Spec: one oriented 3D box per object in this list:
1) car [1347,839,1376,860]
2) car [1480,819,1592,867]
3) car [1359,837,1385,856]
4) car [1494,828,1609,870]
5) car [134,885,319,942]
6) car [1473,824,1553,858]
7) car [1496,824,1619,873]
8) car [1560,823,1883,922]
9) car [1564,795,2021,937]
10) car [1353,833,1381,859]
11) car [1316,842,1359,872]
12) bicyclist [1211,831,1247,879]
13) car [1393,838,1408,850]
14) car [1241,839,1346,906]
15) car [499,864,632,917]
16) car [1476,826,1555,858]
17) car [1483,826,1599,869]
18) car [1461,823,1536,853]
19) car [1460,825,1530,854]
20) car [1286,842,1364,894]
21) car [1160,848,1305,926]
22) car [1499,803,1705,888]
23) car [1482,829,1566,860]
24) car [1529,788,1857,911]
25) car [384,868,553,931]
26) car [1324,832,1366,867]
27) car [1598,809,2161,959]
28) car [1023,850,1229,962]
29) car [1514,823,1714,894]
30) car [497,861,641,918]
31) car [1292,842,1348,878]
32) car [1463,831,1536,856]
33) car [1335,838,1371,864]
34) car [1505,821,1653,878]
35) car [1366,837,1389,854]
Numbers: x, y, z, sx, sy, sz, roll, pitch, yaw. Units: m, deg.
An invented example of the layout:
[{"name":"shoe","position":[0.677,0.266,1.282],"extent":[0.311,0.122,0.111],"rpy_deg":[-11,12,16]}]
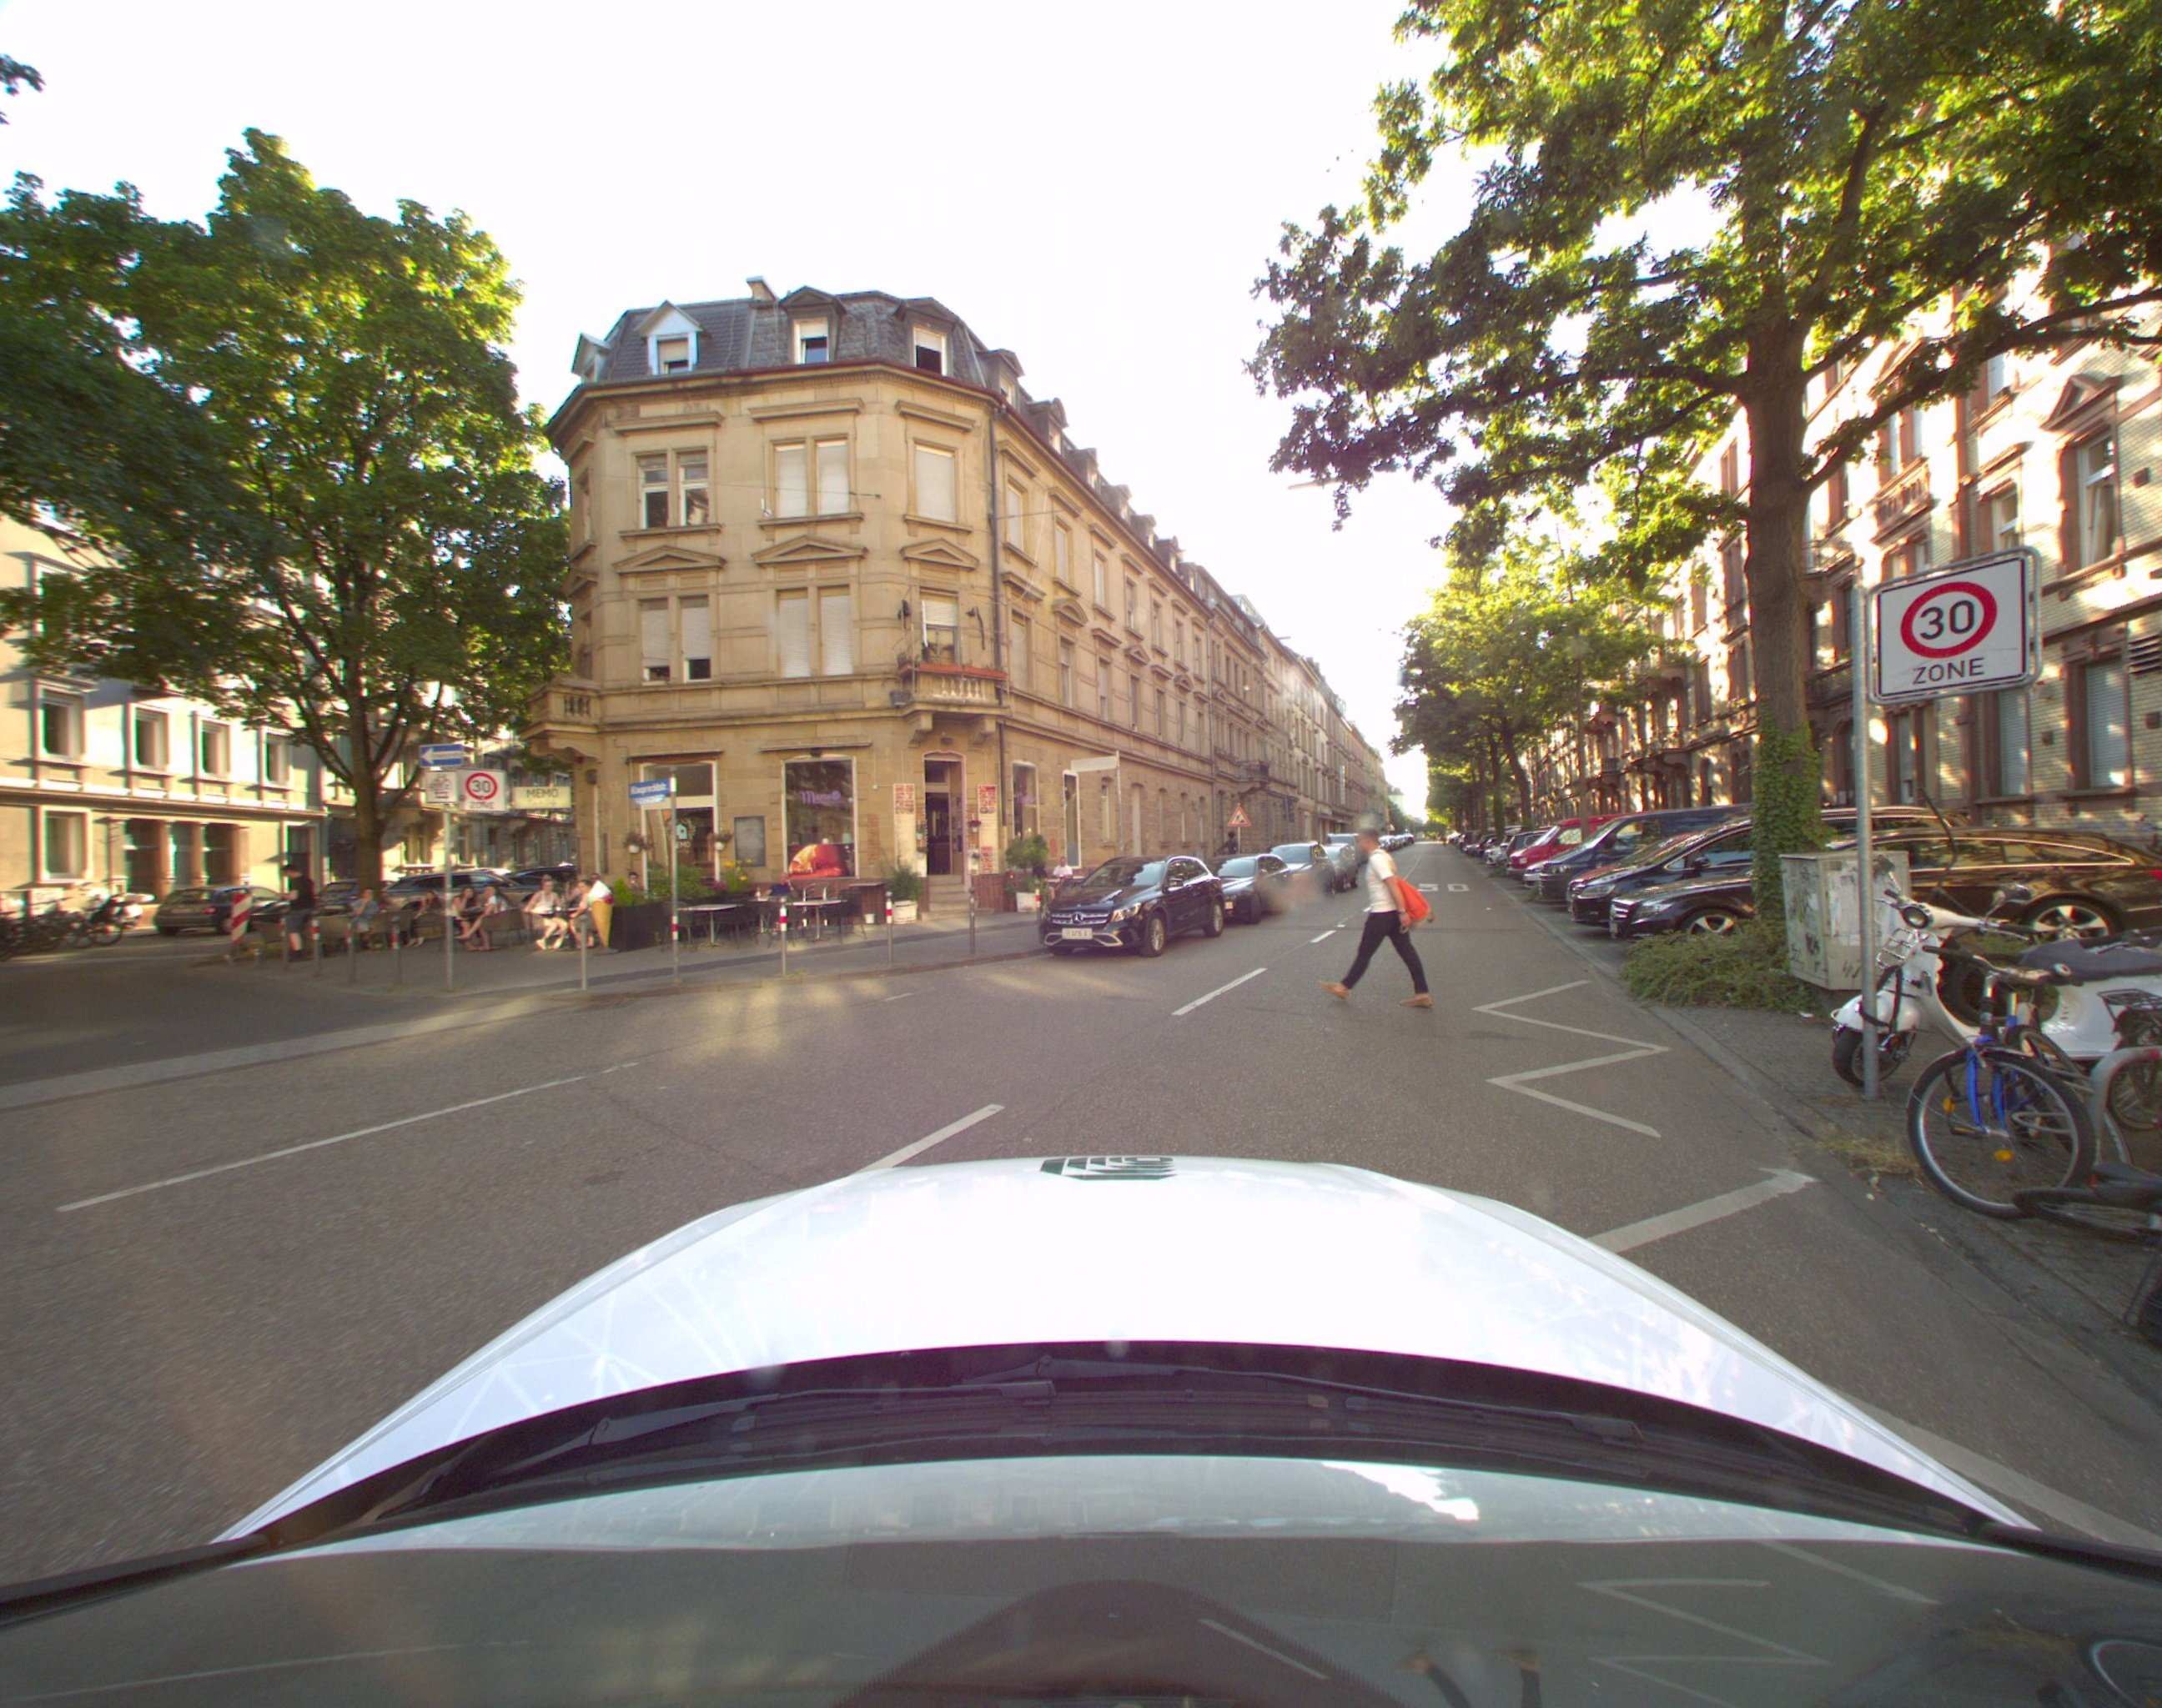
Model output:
[{"name":"car","position":[20.334,-0.363,58.952],"extent":[1.743,1.467,4.022],"rpy_deg":[0,1,22]},{"name":"car","position":[21.961,-0.537,39.528],"extent":[4.405,1.924,1.860],"rpy_deg":[-5,0,21]},{"name":"car","position":[24.316,-0.635,67.956],"extent":[1.743,1.473,4.082],"rpy_deg":[-3,0,22]},{"name":"car","position":[20.070,-0.208,34.942],"extent":[3.974,1.434,1.804],"rpy_deg":[-5,-1,23]},{"name":"car","position":[-25.418,1.717,24.438],"extent":[1.923,1.376,3.738],"rpy_deg":[-2,0,-10]},{"name":"car","position":[27.149,-0.804,51.311],"extent":[4.183,1.776,1.845],"rpy_deg":[-4,0,22]},{"name":"car","position":[19.024,-0.221,32.707],"extent":[3.975,1.628,1.815],"rpy_deg":[-4,-1,22]},{"name":"car","position":[10.807,0.339,14.147],"extent":[4.068,1.534,1.734],"rpy_deg":[-2,0,24]},{"name":"car","position":[9.827,0.238,11.871],"extent":[4.642,1.679,1.863],"rpy_deg":[-4,-1,29]},{"name":"car","position":[22.282,-0.659,63.298],"extent":[1.743,1.841,4.555],"rpy_deg":[-3,0,22]},{"name":"car","position":[13.310,0.132,42.101],"extent":[1.578,1.475,3.721],"rpy_deg":[0,1,26]},{"name":"bicyclist","position":[5.809,0.038,31.914],"extent":[0.986,1.789,1.215],"rpy_deg":[-3,0,27]},{"name":"car","position":[46.418,-1.433,118.254],"extent":[1.976,1.486,4.022],"rpy_deg":[-3,-2,23]},{"name":"car","position":[6.034,0.455,22.770],"extent":[1.742,1.600,4.578],"rpy_deg":[-3,0,28]},{"name":"car","position":[-19.202,1.319,30.389],"extent":[4.019,1.684,1.978],"rpy_deg":[-2,0,-37]},{"name":"car","position":[25.929,-0.691,48.742],"extent":[3.974,1.607,1.743],"rpy_deg":[-4,-1,23]},{"name":"car","position":[20.884,-0.298,37.189],"extent":[4.305,1.556,1.860],"rpy_deg":[-5,0,23]},{"name":"car","position":[33.031,-1.270,64.599],"extent":[5.011,1.925,1.845],"rpy_deg":[-4,0,23]},{"name":"car","position":[31.150,-1.063,61.324],"extent":[4.202,1.795,1.837],"rpy_deg":[-4,0,4]},{"name":"car","position":[8.315,0.420,27.494],"extent":[1.742,1.501,4.084],"rpy_deg":[-3,0,27]},{"name":"car","position":[3.544,0.670,18.303],"extent":[1.741,1.451,4.579],"rpy_deg":[-3,-1,29]},{"name":"car","position":[14.916,-0.202,23.654],"extent":[4.635,2.033,1.888],"rpy_deg":[-4,-1,21]},{"name":"car","position":[25.178,-0.546,46.432],"extent":[3.974,1.467,1.743],"rpy_deg":[-4,-1,23]},{"name":"car","position":[12.158,-0.025,16.680],"extent":[4.977,2.215,2.004],"rpy_deg":[-2,0,23]},{"name":"car","position":[-18.167,1.287,24.228],"extent":[3.857,1.562,1.781],"rpy_deg":[-2,0,-42]},{"name":"car","position":[15.383,-0.298,47.305],"extent":[1.815,1.943,5.290],"rpy_deg":[0,1,24]},{"name":"car","position":[9.010,0.392,9.545],"extent":[4.741,1.413,1.862],"rpy_deg":[-4,-1,26]},{"name":"car","position":[0.921,0.755,13.484],"extent":[1.742,1.488,4.164],"rpy_deg":[-3,-1,28]},{"name":"car","position":[13.656,0.126,21.188],"extent":[4.018,1.510,1.889],"rpy_deg":[-4,-1,23]},{"name":"car","position":[-17.599,1.187,28.238],"extent":[4.009,1.684,1.982],"rpy_deg":[-2,0,-27]},{"name":"car","position":[11.211,0.253,38.006],"extent":[1.742,1.501,4.084],"rpy_deg":[-3,0,26]},{"name":"car","position":[28.774,-0.724,56.179],"extent":[4.186,1.403,1.844],"rpy_deg":[-4,0,19]},{"name":"car","position":[17.678,-0.225,52.810],"extent":[1.738,1.608,4.409],"rpy_deg":[0,1,24]},{"name":"car","position":[17.099,-0.143,28.223],"extent":[4.147,1.628,1.848],"rpy_deg":[-4,-1,27]},{"name":"car","position":[26.803,-0.787,73.564],"extent":[1.743,1.473,4.082],"rpy_deg":[-3,0,22]}]
